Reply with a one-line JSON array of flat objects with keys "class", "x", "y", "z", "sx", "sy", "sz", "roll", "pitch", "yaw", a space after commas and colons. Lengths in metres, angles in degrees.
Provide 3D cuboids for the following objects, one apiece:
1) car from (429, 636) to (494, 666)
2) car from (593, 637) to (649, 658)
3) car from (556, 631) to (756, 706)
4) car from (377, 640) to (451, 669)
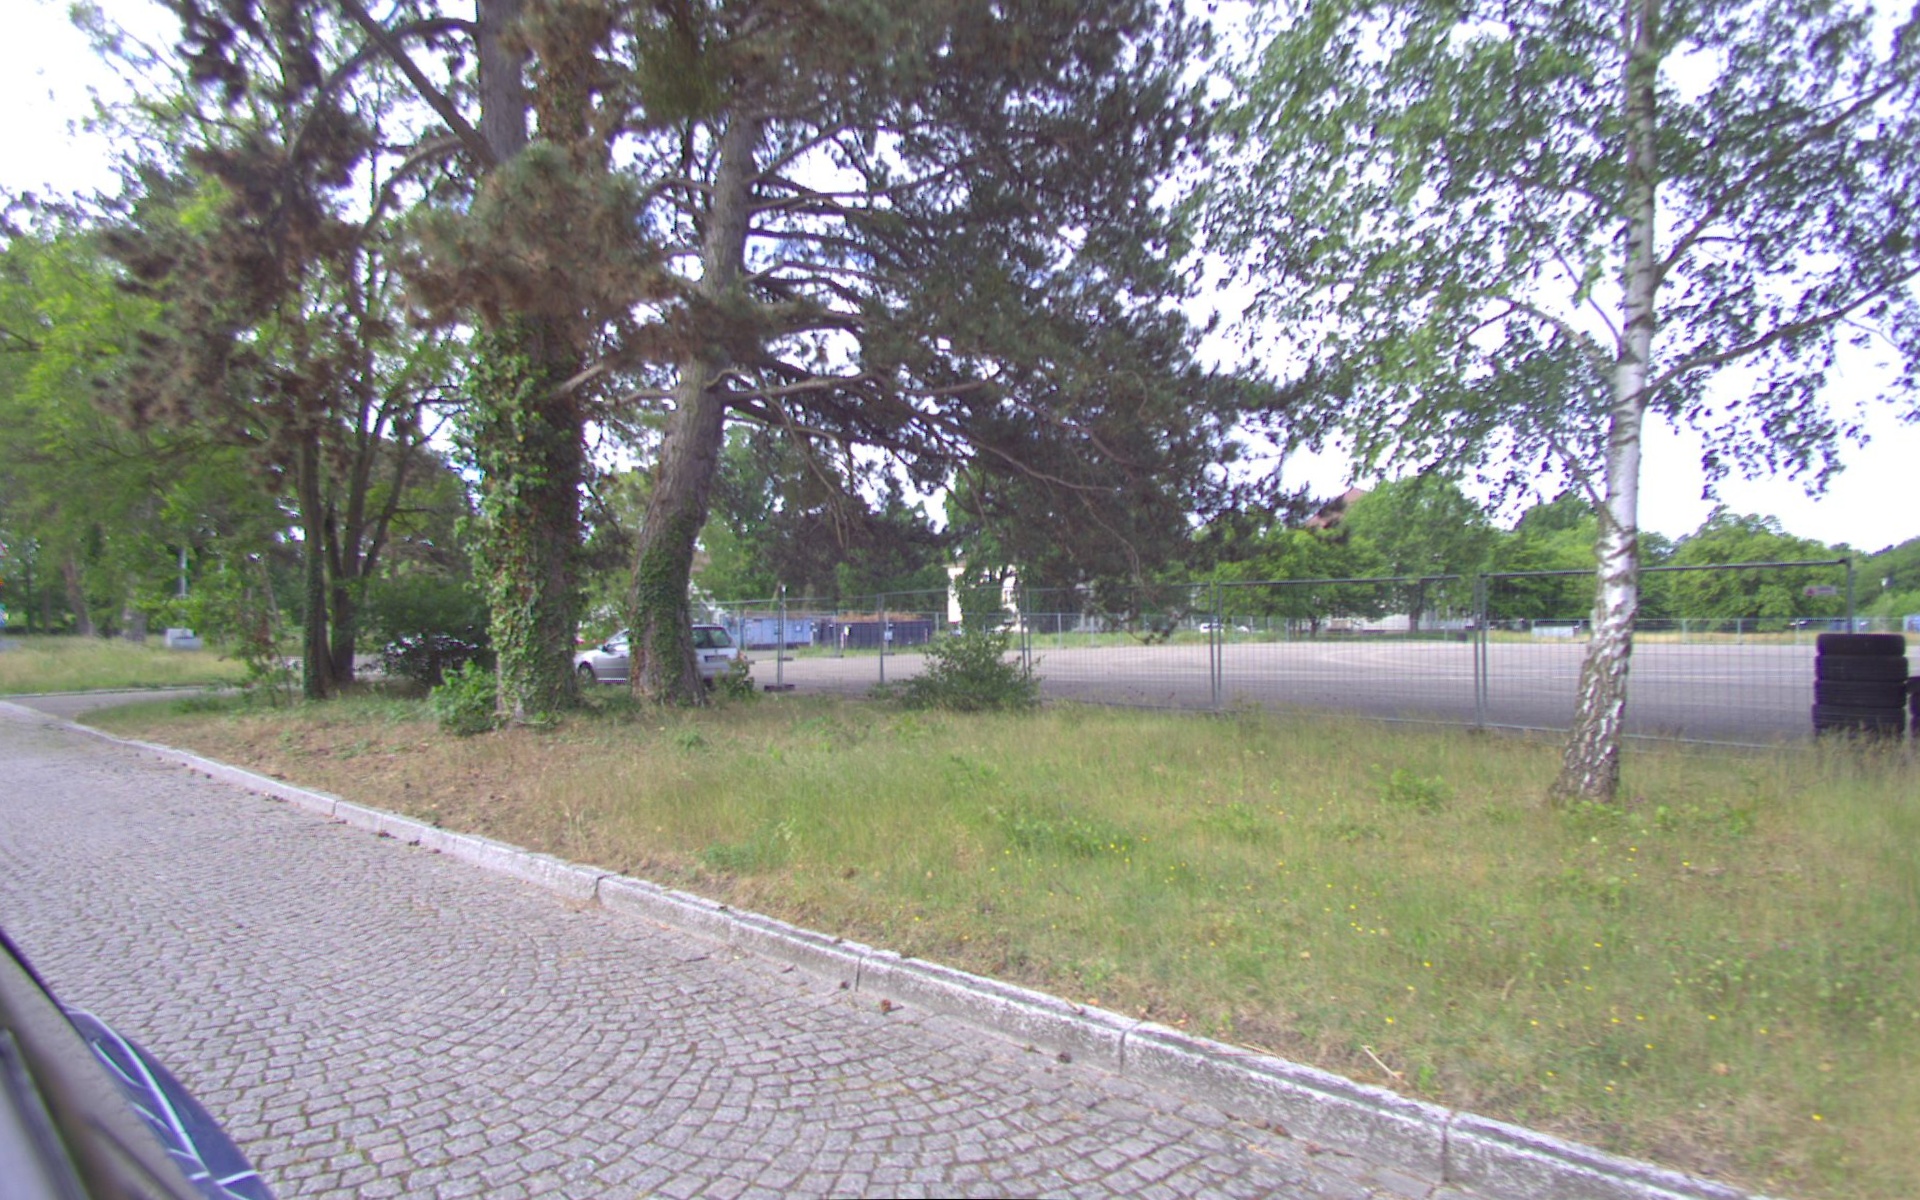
[{"class": "car", "x": -27.246, "y": 2.797, "z": 55.248, "sx": 3.892, "sy": 1.532, "sz": 1.654, "roll": -4, "pitch": -4, "yaw": 37}, {"class": "car", "x": -25.435, "y": 3.555, "z": 75.815, "sx": 4.395, "sy": 1.486, "sz": 1.807, "roll": -2, "pitch": -3, "yaw": 37}, {"class": "car", "x": -6.508, "y": 1.438, "z": 21.461, "sx": 4.414, "sy": 1.427, "sz": 1.807, "roll": -2, "pitch": -5, "yaw": 38}, {"class": "car", "x": -28.771, "y": 2.846, "z": 53.293, "sx": 4.313, "sy": 1.436, "sz": 1.807, "roll": -2, "pitch": -3, "yaw": 37}]
